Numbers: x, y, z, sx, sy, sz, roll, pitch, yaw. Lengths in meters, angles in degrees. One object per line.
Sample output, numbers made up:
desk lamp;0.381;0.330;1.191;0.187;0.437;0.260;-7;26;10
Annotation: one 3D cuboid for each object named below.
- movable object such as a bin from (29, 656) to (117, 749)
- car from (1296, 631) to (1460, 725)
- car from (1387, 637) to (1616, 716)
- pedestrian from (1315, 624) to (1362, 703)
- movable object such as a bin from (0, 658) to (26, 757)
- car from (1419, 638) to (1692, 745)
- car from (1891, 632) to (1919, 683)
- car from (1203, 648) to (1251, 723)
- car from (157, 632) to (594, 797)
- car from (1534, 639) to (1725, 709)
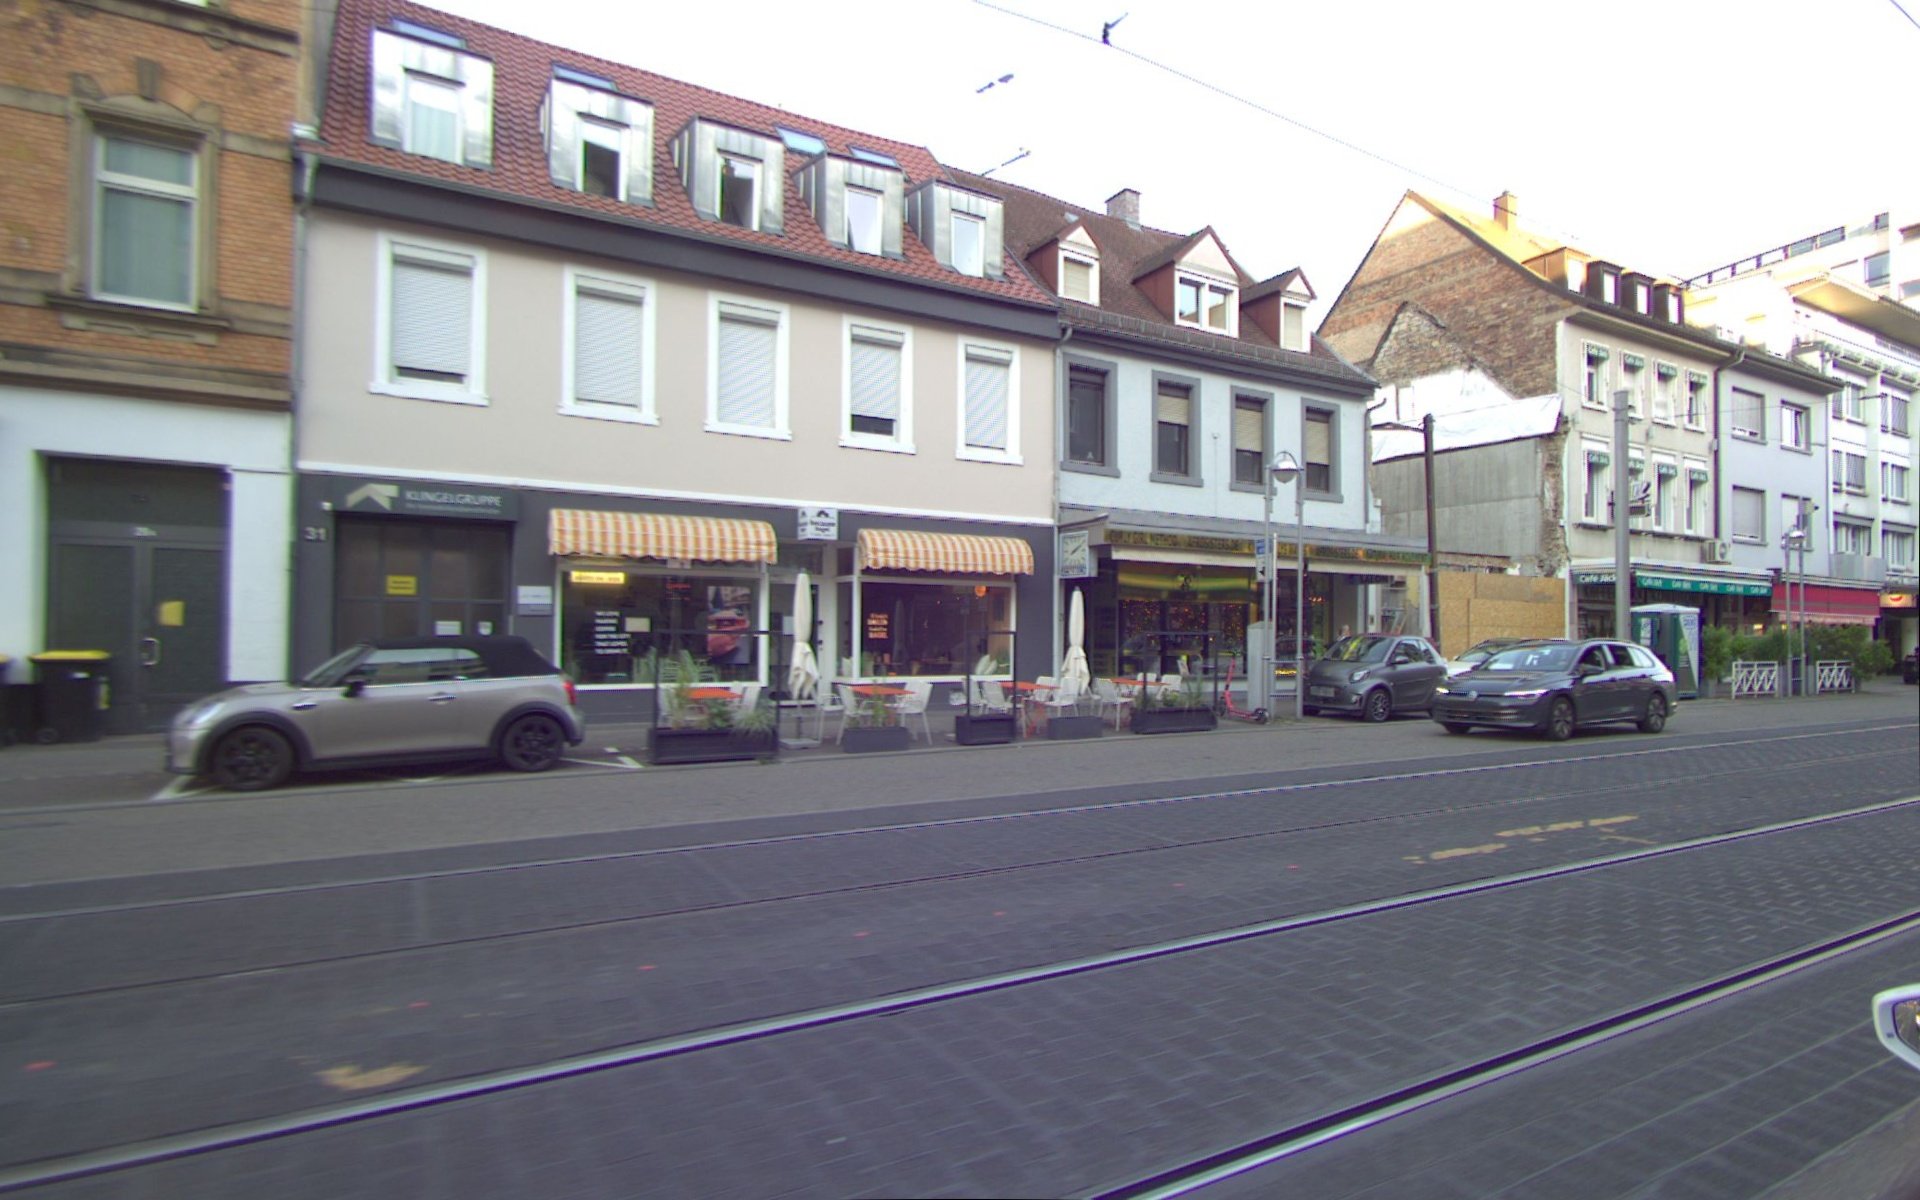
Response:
movable object such as a bin;-10.530;1.200;11.943;0.686;1.047;0.492;1;0;-30
car;7.691;1.385;18.481;2.764;1.598;1.469;1;-2;-32
car;11.324;1.527;20.954;4.763;1.472;1.985;1;-2;-29
pedestrian;8.130;1.354;21.606;0.686;1.666;0.659;1;-1;-29
movable object such as a bin;-10.892;1.193;11.146;0.652;1.057;0.515;1;0;-30
car;9.351;1.343;15.701;4.411;1.472;1.684;1;-3;-30
car;34.170;1.991;34.608;4.411;1.700;1.851;1;-1;-30
car;4.600;1.453;17.315;0.336;1.251;0.779;1;-2;-31
car;-6.027;1.094;10.755;3.766;1.459;1.591;1;-1;-29
car;15.654;1.664;23.467;4.277;1.472;1.985;1;-2;-29
